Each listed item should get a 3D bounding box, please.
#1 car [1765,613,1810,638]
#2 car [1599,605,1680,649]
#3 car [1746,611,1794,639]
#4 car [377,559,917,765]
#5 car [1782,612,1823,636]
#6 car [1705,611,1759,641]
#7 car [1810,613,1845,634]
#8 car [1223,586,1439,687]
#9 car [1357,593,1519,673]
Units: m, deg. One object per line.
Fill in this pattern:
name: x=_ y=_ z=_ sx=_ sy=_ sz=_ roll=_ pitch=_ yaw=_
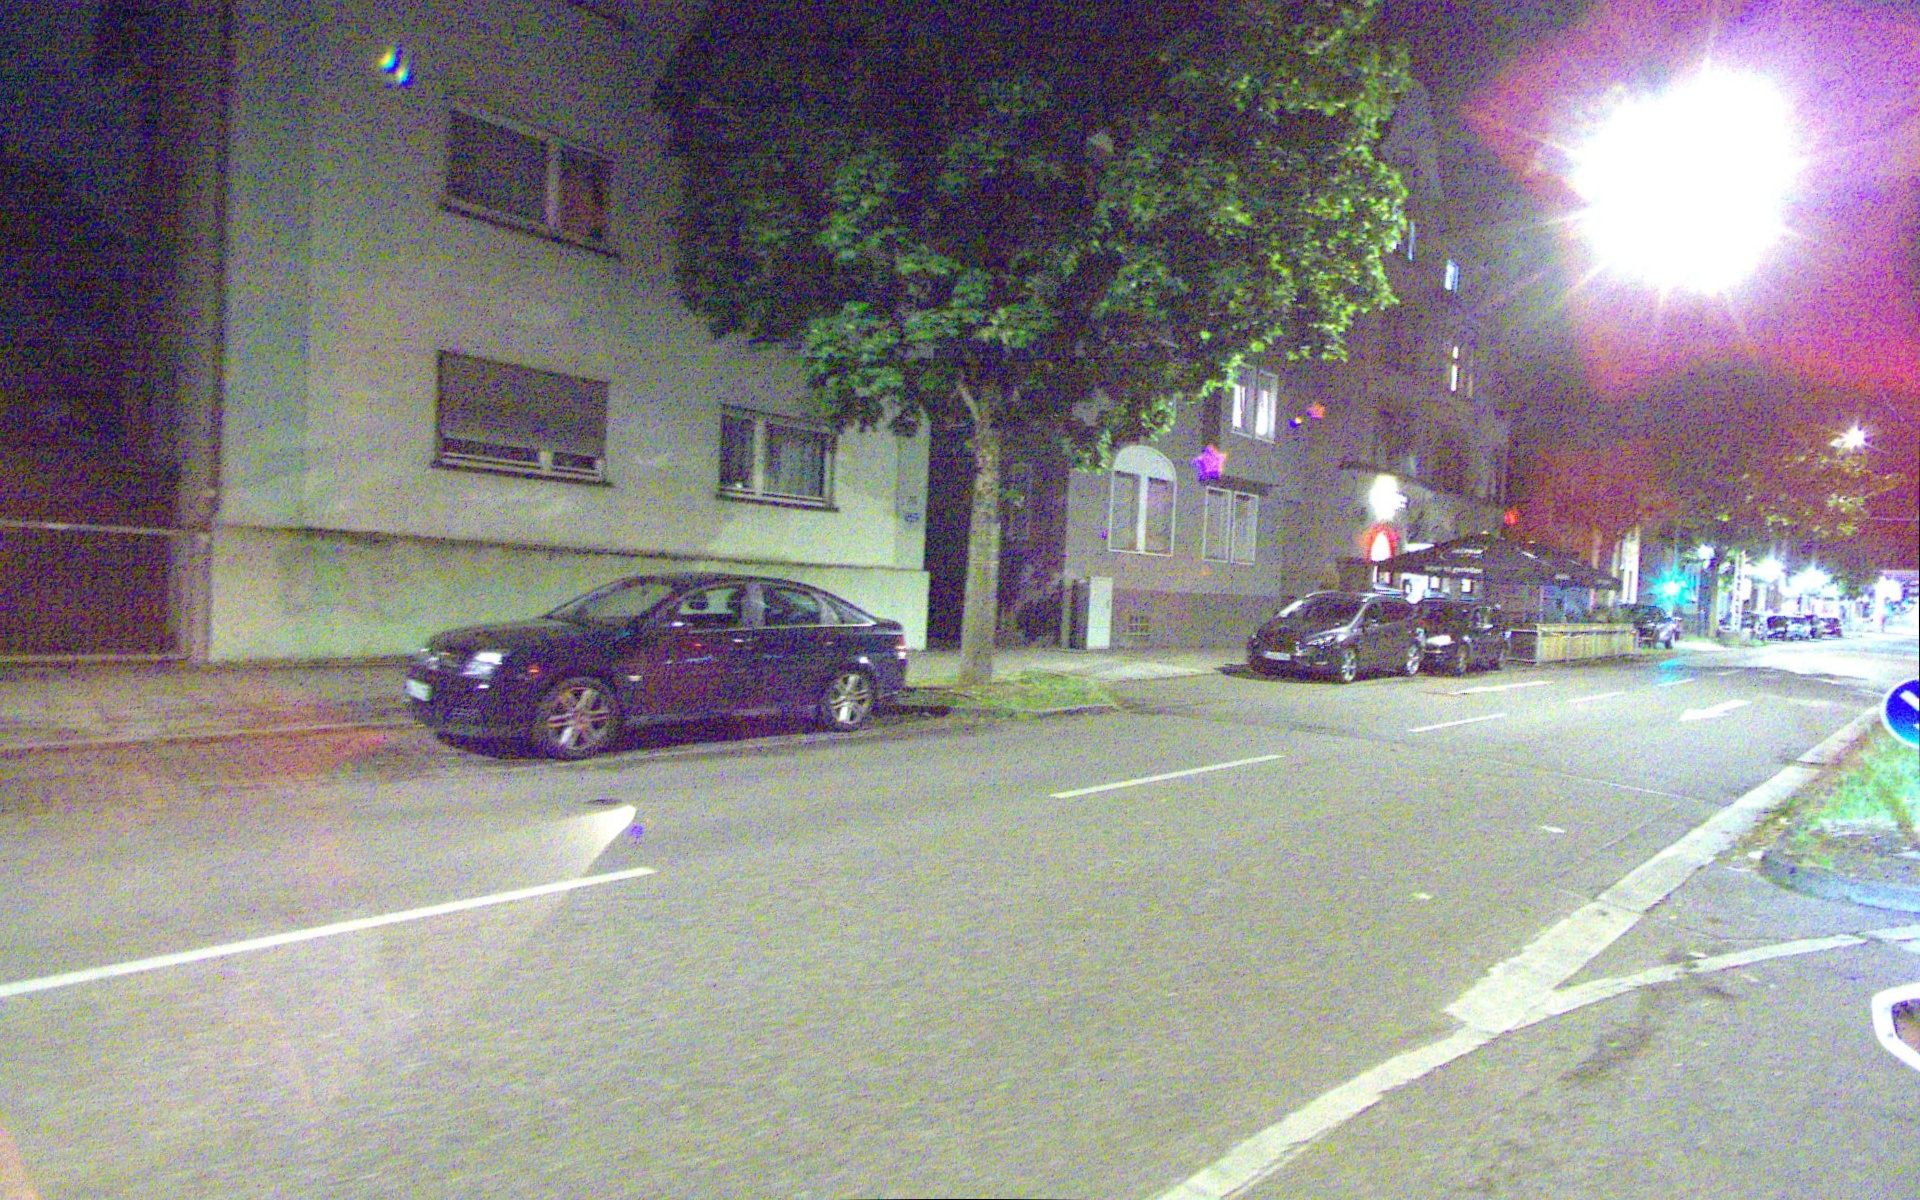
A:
car: x=50.592 y=1.553 z=61.389 sx=3.973 sy=1.450 sz=1.635 roll=1 pitch=1 yaw=-44
car: x=24.786 y=0.978 z=36.573 sx=3.973 sy=1.450 sz=1.635 roll=1 pitch=1 yaw=-44
car: x=45.983 y=1.415 z=56.978 sx=3.973 sy=1.450 sz=1.635 roll=1 pitch=1 yaw=-44
car: x=-2.540 y=0.443 z=9.054 sx=1.605 sy=1.401 sz=4.426 roll=3 pitch=1 yaw=43
car: x=55.372 y=1.571 z=65.963 sx=3.973 sy=1.450 sz=1.635 roll=1 pitch=1 yaw=-44
car: x=40.000 y=1.330 z=52.001 sx=3.973 sy=1.450 sz=1.635 roll=1 pitch=1 yaw=-44
car: x=65.128 y=1.751 z=75.405 sx=3.973 sy=1.450 sz=1.635 roll=1 pitch=1 yaw=-44
car: x=6.806 y=0.598 z=18.194 sx=4.421 sy=1.491 sz=1.881 roll=1 pitch=4 yaw=-44
car: x=10.367 y=0.681 z=21.646 sx=4.295 sy=1.501 sz=1.785 roll=2 pitch=1 yaw=-45
